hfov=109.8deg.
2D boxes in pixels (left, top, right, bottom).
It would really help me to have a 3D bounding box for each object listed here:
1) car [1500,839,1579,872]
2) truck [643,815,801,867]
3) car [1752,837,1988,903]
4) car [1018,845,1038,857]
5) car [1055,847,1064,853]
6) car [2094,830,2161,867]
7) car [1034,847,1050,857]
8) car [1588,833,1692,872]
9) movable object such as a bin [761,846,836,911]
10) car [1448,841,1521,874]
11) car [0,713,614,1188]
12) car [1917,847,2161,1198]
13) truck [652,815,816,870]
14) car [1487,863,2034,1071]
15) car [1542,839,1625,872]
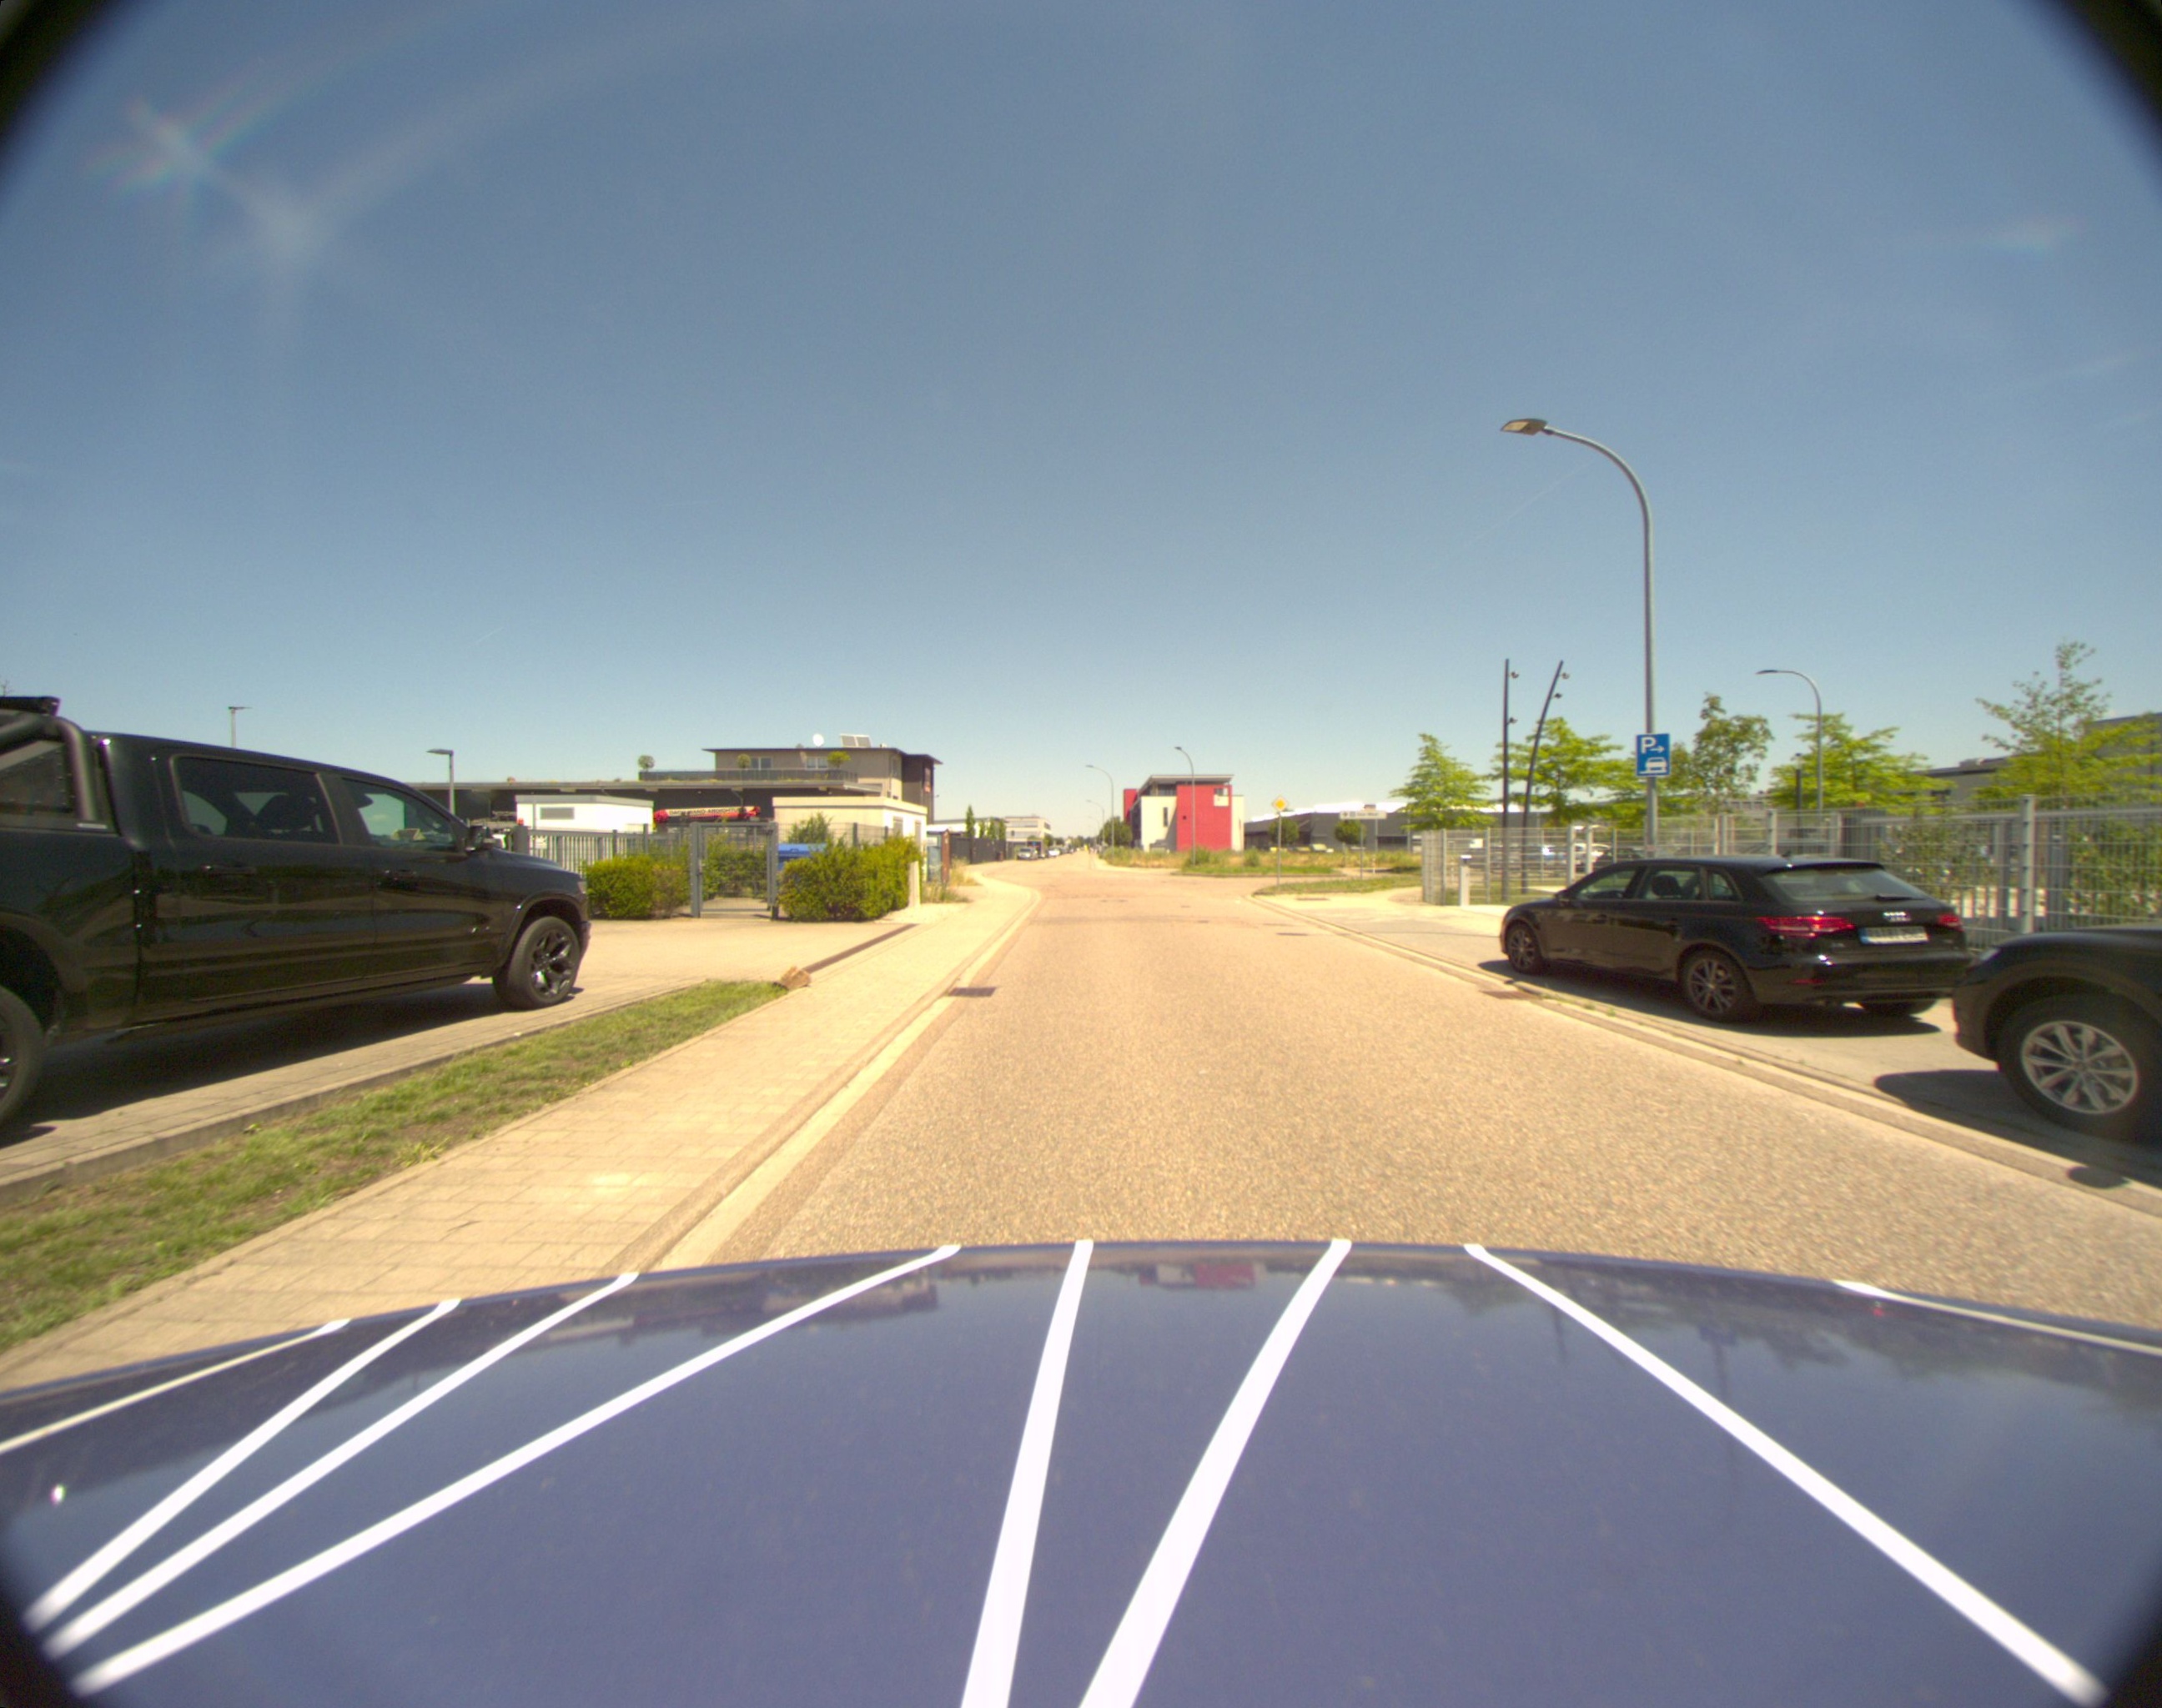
[{"bbox_3d":[25.563,0.048,42.548,1.956,1.688,4.308,-1,1,3],"label":"car"},{"bbox_3d":[-23.248,-0.837,49.477,8.966,3.159,2.689,-1,1,1],"label":"truck"},{"bbox_3d":[19.872,0.341,19.442,1.775,1.502,4.105,0,1,0],"label":"car"},{"bbox_3d":[-5.959,-0.345,85.655,1.828,1.269,3.885,0,1,2],"label":"car"},{"bbox_3d":[-4.626,-0.885,165.460,1.828,1.269,3.885,0,1,2],"label":"car"},{"bbox_3d":[43.157,-0.220,29.723,1.610,1.467,4.116,-1,-1,1],"label":"car"},{"bbox_3d":[-5.338,-0.279,103.768,1.828,1.269,3.885,0,1,2],"label":"car"},{"bbox_3d":[22.496,-0.030,30.762,1.610,1.467,3.800,-1,-1,4],"label":"car"},{"bbox_3d":[-6.832,0.572,18.447,1.387,1.514,1.170,0,1,0],"label":"movable object such as a bin"},{"bbox_3d":[22.339,0.163,42.257,1.956,1.688,4.308,-1,1,3],"label":"car"},{"bbox_3d":[-5.564,0.440,4.547,1.999,2.001,5.801,0,-1,-1],"label":"car"},{"bbox_3d":[5.920,0.793,2.215,1.774,1.641,4.851,-1,0,3],"label":"car"},{"bbox_3d":[-20.294,-0.652,44.705,8.354,3.005,2.625,-1,1,1],"label":"truck"},{"bbox_3d":[6.175,0.860,7.733,1.774,1.458,4.185,-1,0,-1],"label":"car"},{"bbox_3d":[27.987,0.047,42.520,1.956,1.688,4.308,-1,1,3],"label":"car"}]
